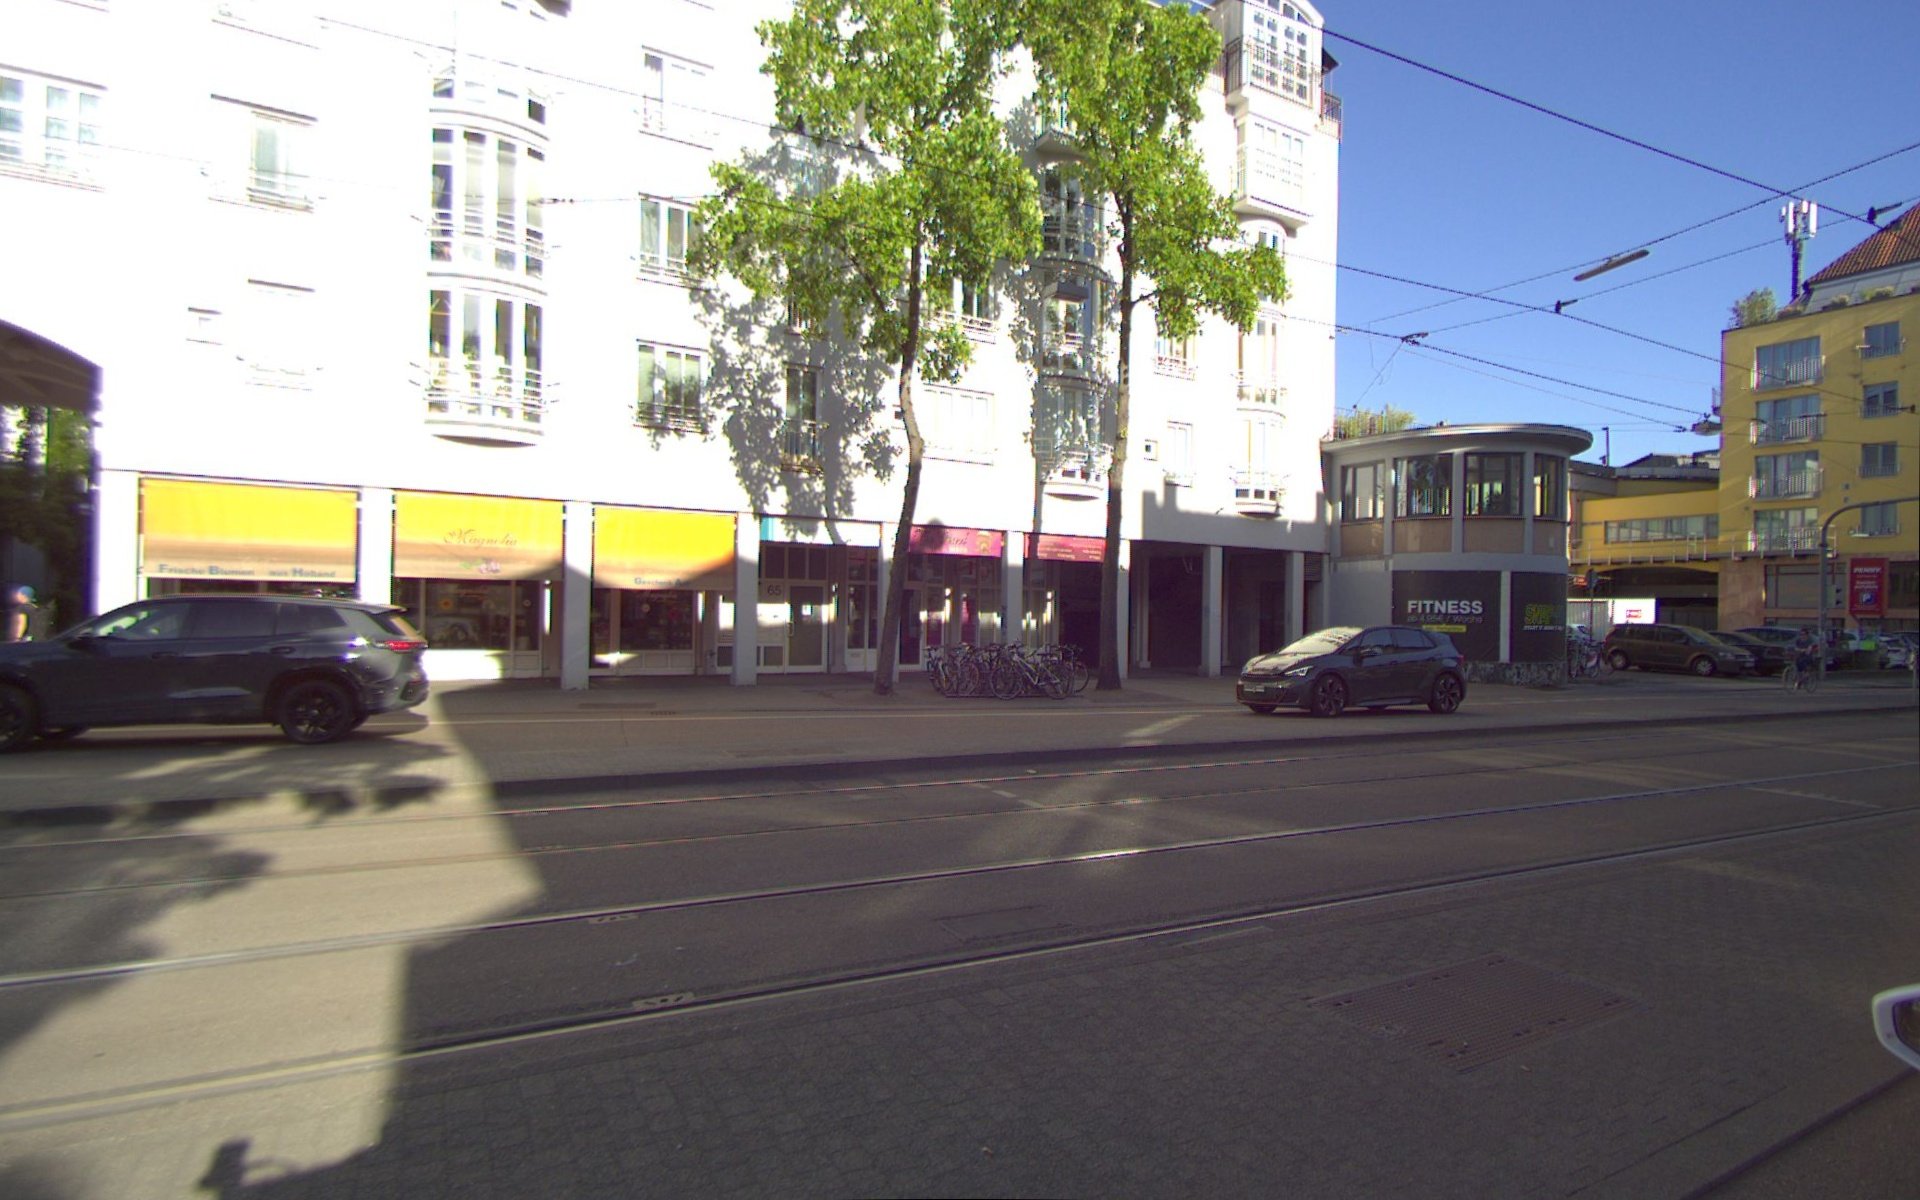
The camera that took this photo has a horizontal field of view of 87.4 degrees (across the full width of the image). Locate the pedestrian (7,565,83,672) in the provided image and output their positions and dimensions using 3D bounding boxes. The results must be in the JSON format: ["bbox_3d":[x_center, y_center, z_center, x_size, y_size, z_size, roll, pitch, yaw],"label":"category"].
[{"bbox_3d":[-14.666,0.287,16.121,0.722,1.666,0.742,1,0,-30],"label":"pedestrian"}]

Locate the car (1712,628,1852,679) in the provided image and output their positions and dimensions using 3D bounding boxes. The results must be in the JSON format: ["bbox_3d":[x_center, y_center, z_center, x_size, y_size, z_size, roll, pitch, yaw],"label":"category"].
[{"bbox_3d":[30.633,1.963,37.517,1.764,1.695,3.672,2,-1,-30],"label":"car"}]

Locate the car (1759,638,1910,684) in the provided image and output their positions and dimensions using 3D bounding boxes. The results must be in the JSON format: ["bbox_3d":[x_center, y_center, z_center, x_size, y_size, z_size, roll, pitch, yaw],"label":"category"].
[{"bbox_3d":[34.832,2.398,40.118,1.765,1.630,4.214,4,-3,-30],"label":"car"}]

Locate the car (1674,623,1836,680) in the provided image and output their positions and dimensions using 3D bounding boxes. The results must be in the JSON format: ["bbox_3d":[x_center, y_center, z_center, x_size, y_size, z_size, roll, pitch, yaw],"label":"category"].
[{"bbox_3d":[28.466,1.794,36.096,1.764,1.836,4.213,2,-1,-30],"label":"car"}]

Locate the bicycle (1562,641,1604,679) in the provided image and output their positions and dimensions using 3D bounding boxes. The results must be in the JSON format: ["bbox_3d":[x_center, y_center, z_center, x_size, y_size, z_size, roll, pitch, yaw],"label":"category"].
[{"bbox_3d":[18.497,1.758,29.805,1.863,1.094,0.459,2,-1,-38],"label":"bicycle"}]

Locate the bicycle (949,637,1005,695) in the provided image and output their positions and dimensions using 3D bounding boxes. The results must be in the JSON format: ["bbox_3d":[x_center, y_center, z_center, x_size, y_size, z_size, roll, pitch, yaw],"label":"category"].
[{"bbox_3d":[0.327,1.343,20.777,0.458,1.091,1.870,1,-1,-21],"label":"bicycle"}]

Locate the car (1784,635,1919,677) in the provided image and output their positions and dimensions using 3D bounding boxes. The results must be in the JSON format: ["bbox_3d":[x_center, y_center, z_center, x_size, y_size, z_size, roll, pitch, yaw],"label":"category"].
[{"bbox_3d":[37.080,2.296,41.624,1.765,1.568,4.214,4,-3,-30],"label":"car"}]

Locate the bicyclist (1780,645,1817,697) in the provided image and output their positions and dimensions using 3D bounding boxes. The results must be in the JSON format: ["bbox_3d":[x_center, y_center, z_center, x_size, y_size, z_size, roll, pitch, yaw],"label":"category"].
[{"bbox_3d":[23.076,1.938,27.638,0.710,1.379,0.560,2,-1,-30],"label":"bicyclist"}]

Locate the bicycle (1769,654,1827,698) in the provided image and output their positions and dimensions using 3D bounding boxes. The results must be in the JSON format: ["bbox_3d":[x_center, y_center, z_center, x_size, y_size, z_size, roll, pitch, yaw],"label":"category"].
[{"bbox_3d":[22.998,2.073,27.564,1.980,1.138,0.561,1,0,-30],"label":"bicycle"}]

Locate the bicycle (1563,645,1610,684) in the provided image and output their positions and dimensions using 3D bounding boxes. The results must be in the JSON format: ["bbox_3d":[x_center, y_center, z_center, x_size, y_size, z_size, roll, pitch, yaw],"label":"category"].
[{"bbox_3d":[17.575,1.786,28.155,1.863,1.050,0.520,2,-1,-38],"label":"bicycle"}]

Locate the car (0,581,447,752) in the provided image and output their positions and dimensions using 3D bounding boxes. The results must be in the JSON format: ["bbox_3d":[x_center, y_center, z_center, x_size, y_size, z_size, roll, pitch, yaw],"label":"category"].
[{"bbox_3d":[-8.518,0.713,11.355,4.705,1.690,1.775,1,-2,-24],"label":"car"}]

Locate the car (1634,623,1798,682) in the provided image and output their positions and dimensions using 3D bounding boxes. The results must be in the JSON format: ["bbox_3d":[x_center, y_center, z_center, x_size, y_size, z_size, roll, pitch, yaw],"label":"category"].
[{"bbox_3d":[26.085,1.765,34.817,1.764,1.836,4.213,2,-1,-30],"label":"car"}]

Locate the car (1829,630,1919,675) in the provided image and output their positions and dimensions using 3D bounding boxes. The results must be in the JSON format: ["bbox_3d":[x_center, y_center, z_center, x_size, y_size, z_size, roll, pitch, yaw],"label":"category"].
[{"bbox_3d":[41.353,2.309,44.348,1.764,1.836,4.213,2,-1,-30],"label":"car"}]

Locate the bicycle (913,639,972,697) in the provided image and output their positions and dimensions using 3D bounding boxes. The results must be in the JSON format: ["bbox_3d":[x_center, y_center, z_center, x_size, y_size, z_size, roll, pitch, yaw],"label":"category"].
[{"bbox_3d":[-0.380,1.366,20.558,0.504,1.091,1.868,1,-1,-25],"label":"bicycle"}]

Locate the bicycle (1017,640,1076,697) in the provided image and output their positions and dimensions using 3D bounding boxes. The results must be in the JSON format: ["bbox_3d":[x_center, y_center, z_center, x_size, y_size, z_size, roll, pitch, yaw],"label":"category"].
[{"bbox_3d":[1.806,1.428,21.235,0.458,1.091,1.870,1,-1,-21],"label":"bicycle"}]

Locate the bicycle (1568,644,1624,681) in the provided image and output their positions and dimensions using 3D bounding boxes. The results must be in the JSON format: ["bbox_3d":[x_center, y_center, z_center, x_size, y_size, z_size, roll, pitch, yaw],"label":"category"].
[{"bbox_3d":[19.642,1.916,31.067,0.417,1.050,1.878,1,-1,-5],"label":"bicycle"}]

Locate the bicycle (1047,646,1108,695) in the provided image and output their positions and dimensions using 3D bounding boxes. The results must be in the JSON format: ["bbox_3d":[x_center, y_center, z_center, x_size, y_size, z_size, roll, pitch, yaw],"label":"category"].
[{"bbox_3d":[2.514,1.506,21.602,0.562,0.944,1.746,1,-1,-20],"label":"bicycle"}]

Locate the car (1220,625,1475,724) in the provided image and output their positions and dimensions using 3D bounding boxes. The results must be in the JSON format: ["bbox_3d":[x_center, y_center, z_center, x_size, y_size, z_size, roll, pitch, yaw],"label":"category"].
[{"bbox_3d":[6.811,1.248,17.613,4.210,1.560,1.774,1,-2,-25],"label":"car"}]

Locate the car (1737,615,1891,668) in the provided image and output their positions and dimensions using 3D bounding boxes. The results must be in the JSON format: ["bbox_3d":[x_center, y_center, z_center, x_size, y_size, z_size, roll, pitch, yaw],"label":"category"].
[{"bbox_3d":[32.802,1.578,38.697,1.765,1.835,4.214,4,-3,-30],"label":"car"}]

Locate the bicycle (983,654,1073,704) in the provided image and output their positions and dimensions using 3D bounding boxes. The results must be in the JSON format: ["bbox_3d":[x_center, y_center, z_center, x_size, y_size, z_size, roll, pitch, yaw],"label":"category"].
[{"bbox_3d":[1.340,1.542,19.728,1.728,0.944,0.469,2,-1,-21],"label":"bicycle"}]

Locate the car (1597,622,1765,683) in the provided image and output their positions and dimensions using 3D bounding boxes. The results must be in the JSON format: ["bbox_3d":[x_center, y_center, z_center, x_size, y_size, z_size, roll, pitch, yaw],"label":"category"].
[{"bbox_3d":[24.049,1.697,33.655,1.764,1.787,4.213,2,0,-30],"label":"car"}]

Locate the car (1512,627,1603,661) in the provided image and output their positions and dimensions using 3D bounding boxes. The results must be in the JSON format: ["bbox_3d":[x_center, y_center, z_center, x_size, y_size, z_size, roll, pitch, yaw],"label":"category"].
[{"bbox_3d":[29.665,2.155,49.934,1.677,1.499,3.559,-1,0,-32],"label":"car"}]

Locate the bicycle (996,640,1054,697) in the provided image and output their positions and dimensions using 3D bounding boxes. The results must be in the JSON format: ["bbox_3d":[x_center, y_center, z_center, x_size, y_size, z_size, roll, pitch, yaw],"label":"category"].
[{"bbox_3d":[1.356,1.419,21.211,0.458,1.091,1.870,1,-1,-21],"label":"bicycle"}]
